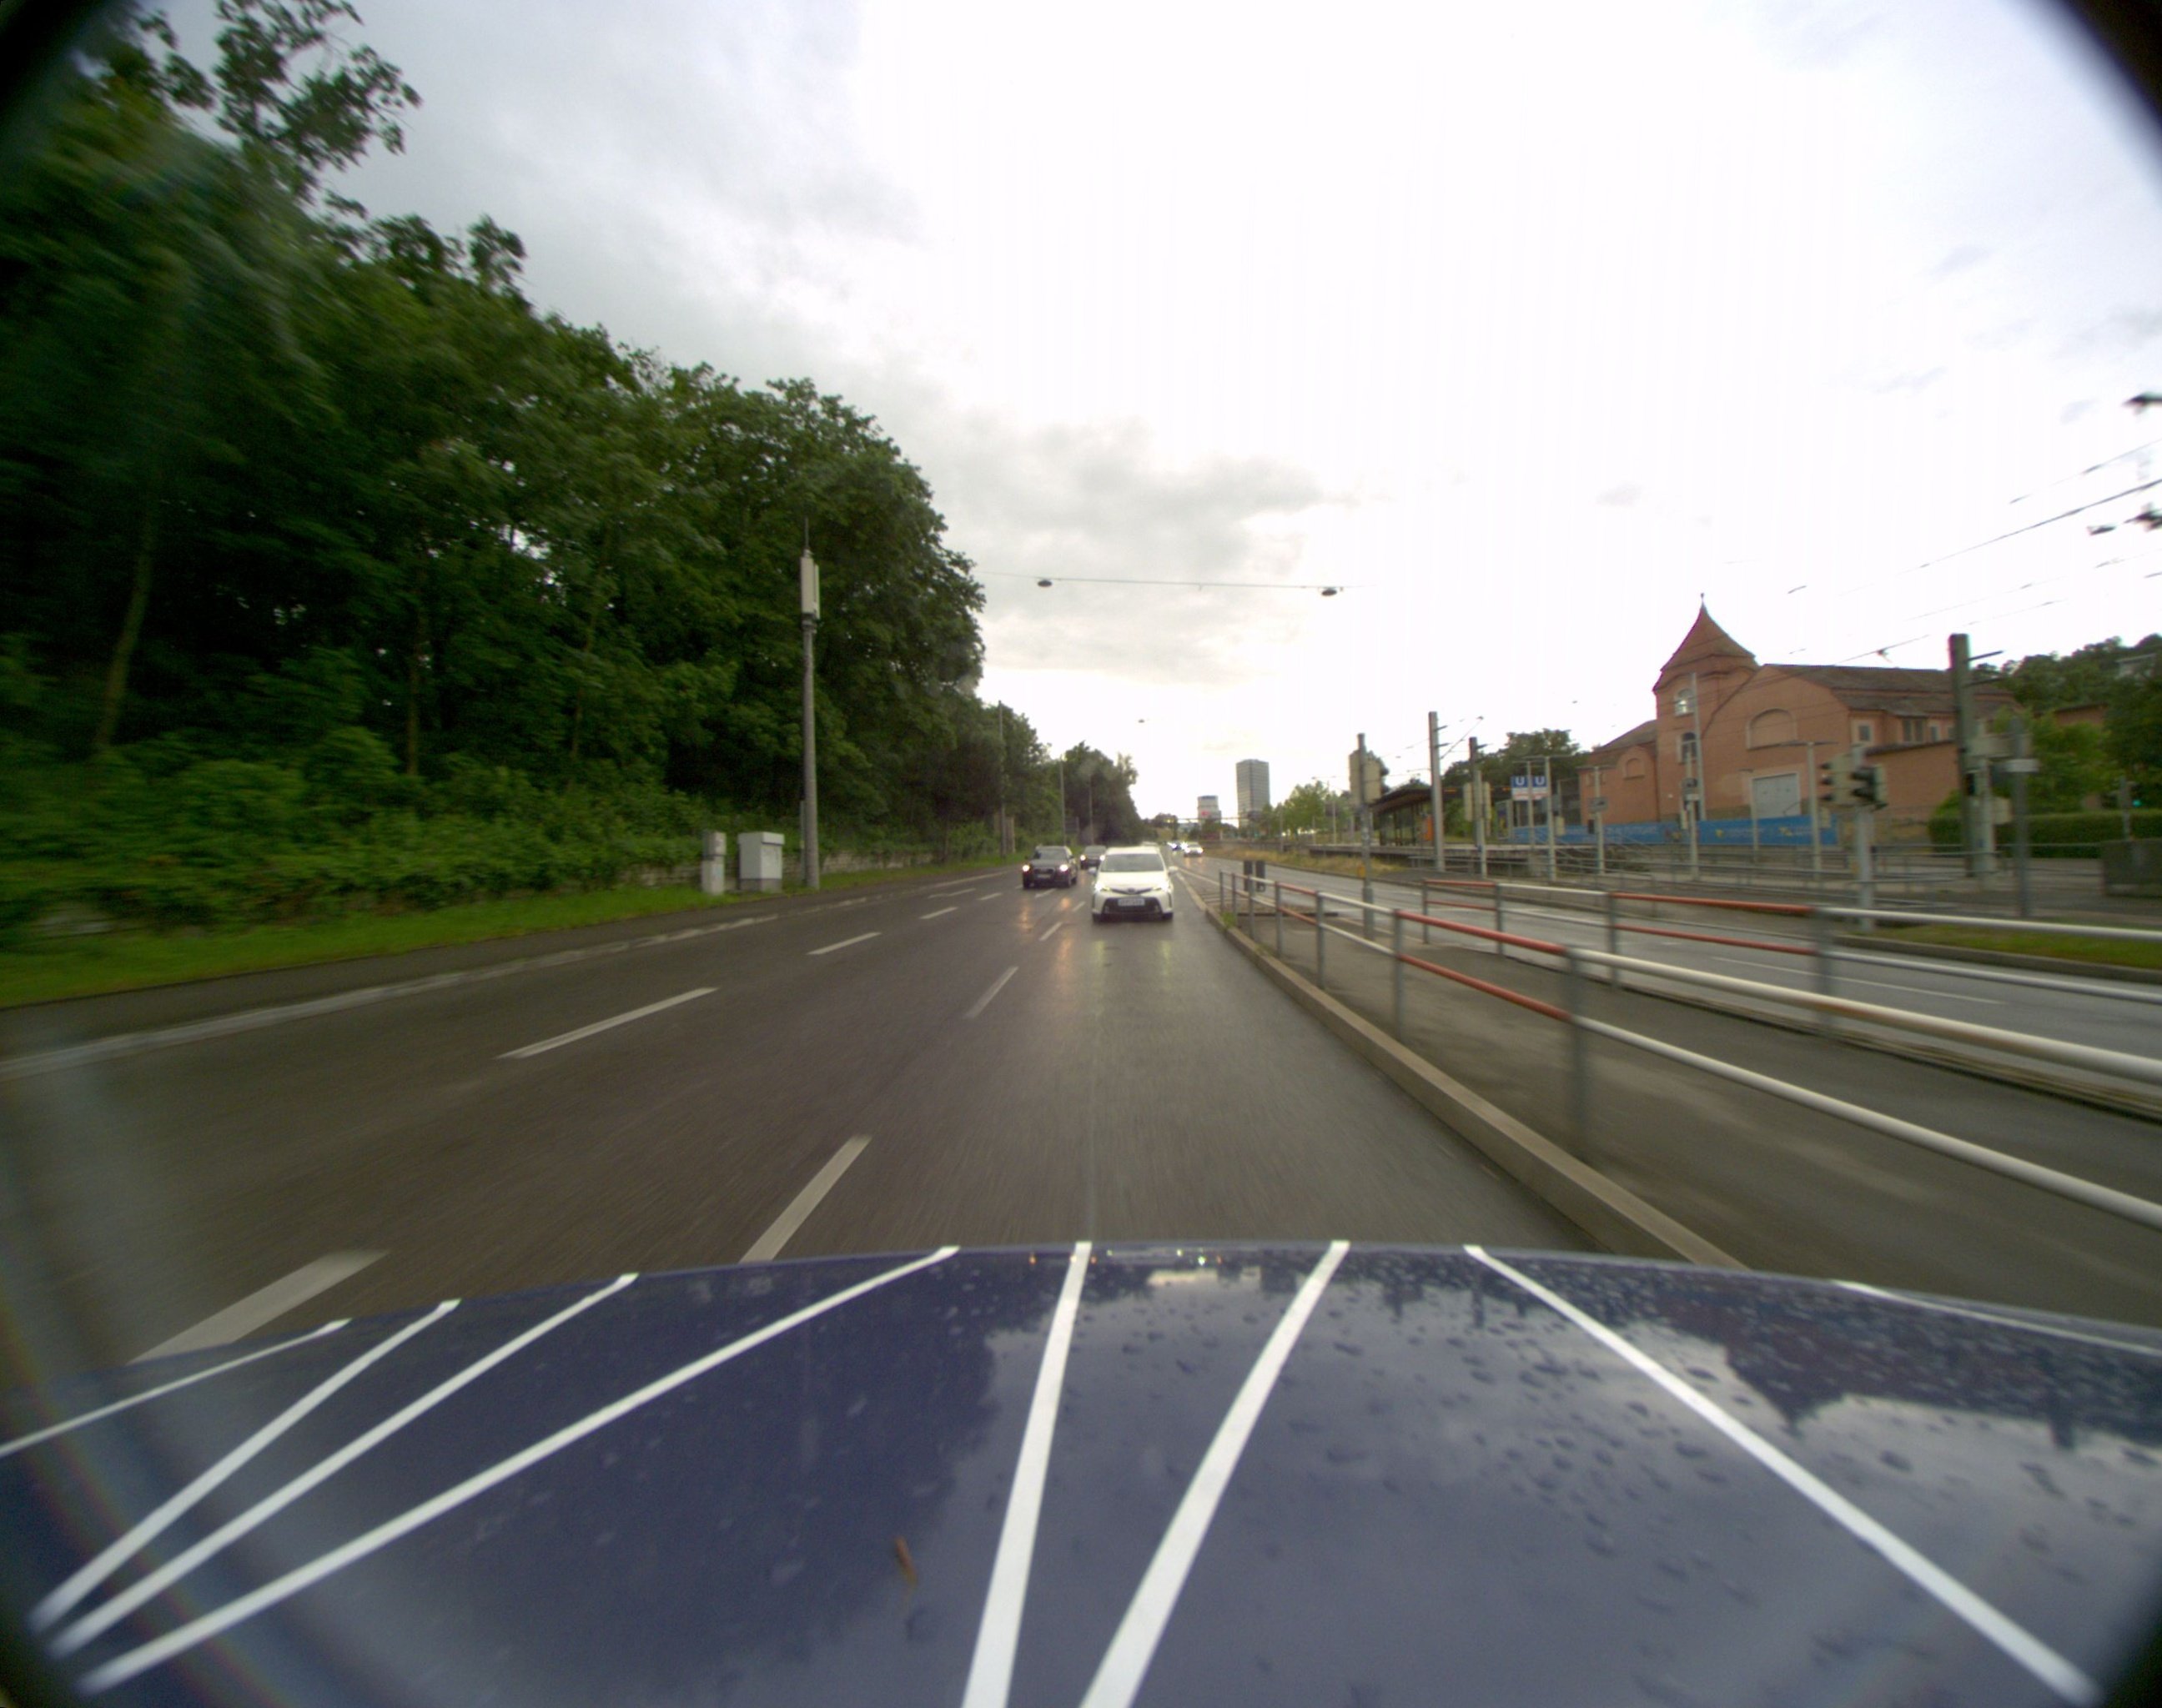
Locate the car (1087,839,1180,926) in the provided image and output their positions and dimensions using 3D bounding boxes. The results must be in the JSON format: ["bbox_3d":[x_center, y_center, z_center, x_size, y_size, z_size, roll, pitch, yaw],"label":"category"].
[{"bbox_3d":[1.103,0.543,17.468,1.856,1.741,3.999,-1,1,1],"label":"car"}]

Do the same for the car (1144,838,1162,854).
[{"bbox_3d":[7.420,-0.824,77.727,1.738,1.579,4.001,-1,1,7],"label":"car"}]

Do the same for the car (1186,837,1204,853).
[{"bbox_3d":[11.723,-0.973,78.417,1.738,1.579,4.001,-1,1,7],"label":"car"}]

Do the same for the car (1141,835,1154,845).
[{"bbox_3d":[9.734,-2.024,111.823,1.801,1.463,4.000,-1,1,3],"label":"car"}]

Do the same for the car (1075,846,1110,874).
[{"bbox_3d":[0.754,0.335,47.701,1.738,1.579,4.001,-1,1,7],"label":"car"}]

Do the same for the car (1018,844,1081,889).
[{"bbox_3d":[-1.157,0.431,30.156,1.855,1.579,4.001,-1,1,7],"label":"car"}]

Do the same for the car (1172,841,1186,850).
[{"bbox_3d":[15.531,-1.365,120.600,1.801,1.463,4.000,-1,0,1],"label":"car"}]

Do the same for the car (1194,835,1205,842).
[{"bbox_3d":[23.920,-3.121,153.938,1.801,1.463,4.001,-1,1,3],"label":"car"}]

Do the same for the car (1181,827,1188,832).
[{"bbox_3d":[28.781,-6.809,211.697,1.800,1.463,4.002,-1,1,9],"label":"car"}]
